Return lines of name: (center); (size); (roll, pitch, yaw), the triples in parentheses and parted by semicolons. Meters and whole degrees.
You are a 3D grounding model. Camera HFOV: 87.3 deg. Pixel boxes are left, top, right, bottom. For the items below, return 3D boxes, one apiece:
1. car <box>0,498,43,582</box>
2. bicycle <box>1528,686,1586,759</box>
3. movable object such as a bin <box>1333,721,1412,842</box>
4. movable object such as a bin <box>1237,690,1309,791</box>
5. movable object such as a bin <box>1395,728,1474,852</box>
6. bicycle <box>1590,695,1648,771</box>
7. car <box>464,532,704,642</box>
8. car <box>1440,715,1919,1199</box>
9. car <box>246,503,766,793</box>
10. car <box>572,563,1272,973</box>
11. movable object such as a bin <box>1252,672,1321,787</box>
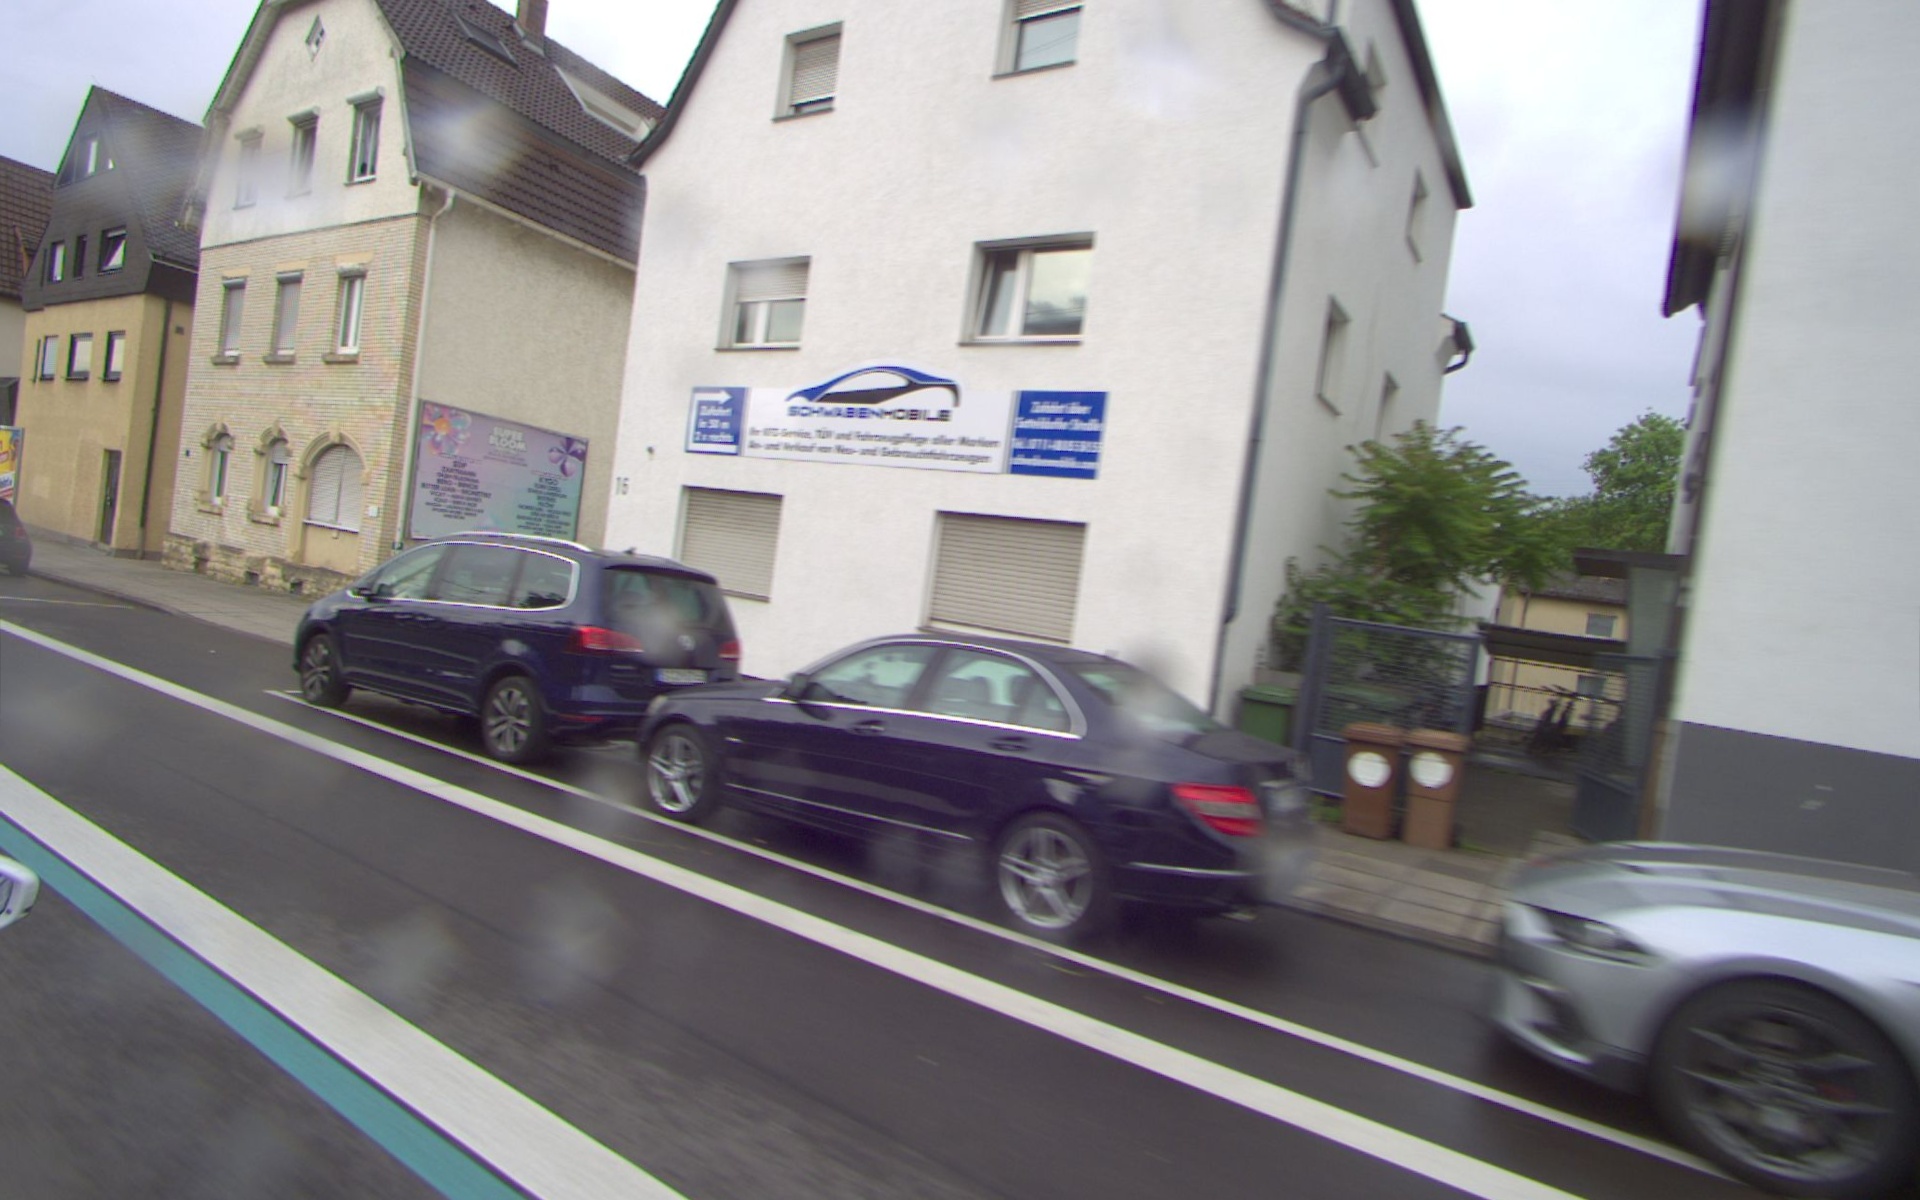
car: (-19.667, -1.357, 19.538); (3.452, 1.515, 1.570); (7, -2, 29)
bicycle: (9.603, 1.942, 16.158); (0.614, 1.037, 1.581); (7, 0, 34)
movable object such as a bin: (3.472, 1.506, 8.460); (0.440, 0.890, 0.587); (7, 1, 31)
movable object such as a bin: (3.096, 1.370, 9.941); (0.504, 0.890, 0.447); (7, 1, 29)
movable object such as a bin: (3.932, 1.551, 8.330); (0.440, 0.890, 0.587); (7, 1, 31)
bicycle: (10.294, 2.042, 15.700); (0.614, 1.037, 1.581); (7, 0, 34)
car: (-7.138, -0.176, 19.497); (1.839, 1.675, 3.992); (8, 1, 30)
car: (4.250, 1.430, 3.196); (4.596, 1.393, 1.797); (7, -1, 35)
car: (-4.189, 0.320, 9.044); (4.609, 1.820, 1.843); (7, -2, 32)
car: (-0.370, 0.816, 6.379); (4.067, 1.556, 1.637); (7, -2, 32)
movable object such as a bin: (3.447, 1.344, 10.610); (0.504, 1.119, 0.447); (7, 1, 29)
